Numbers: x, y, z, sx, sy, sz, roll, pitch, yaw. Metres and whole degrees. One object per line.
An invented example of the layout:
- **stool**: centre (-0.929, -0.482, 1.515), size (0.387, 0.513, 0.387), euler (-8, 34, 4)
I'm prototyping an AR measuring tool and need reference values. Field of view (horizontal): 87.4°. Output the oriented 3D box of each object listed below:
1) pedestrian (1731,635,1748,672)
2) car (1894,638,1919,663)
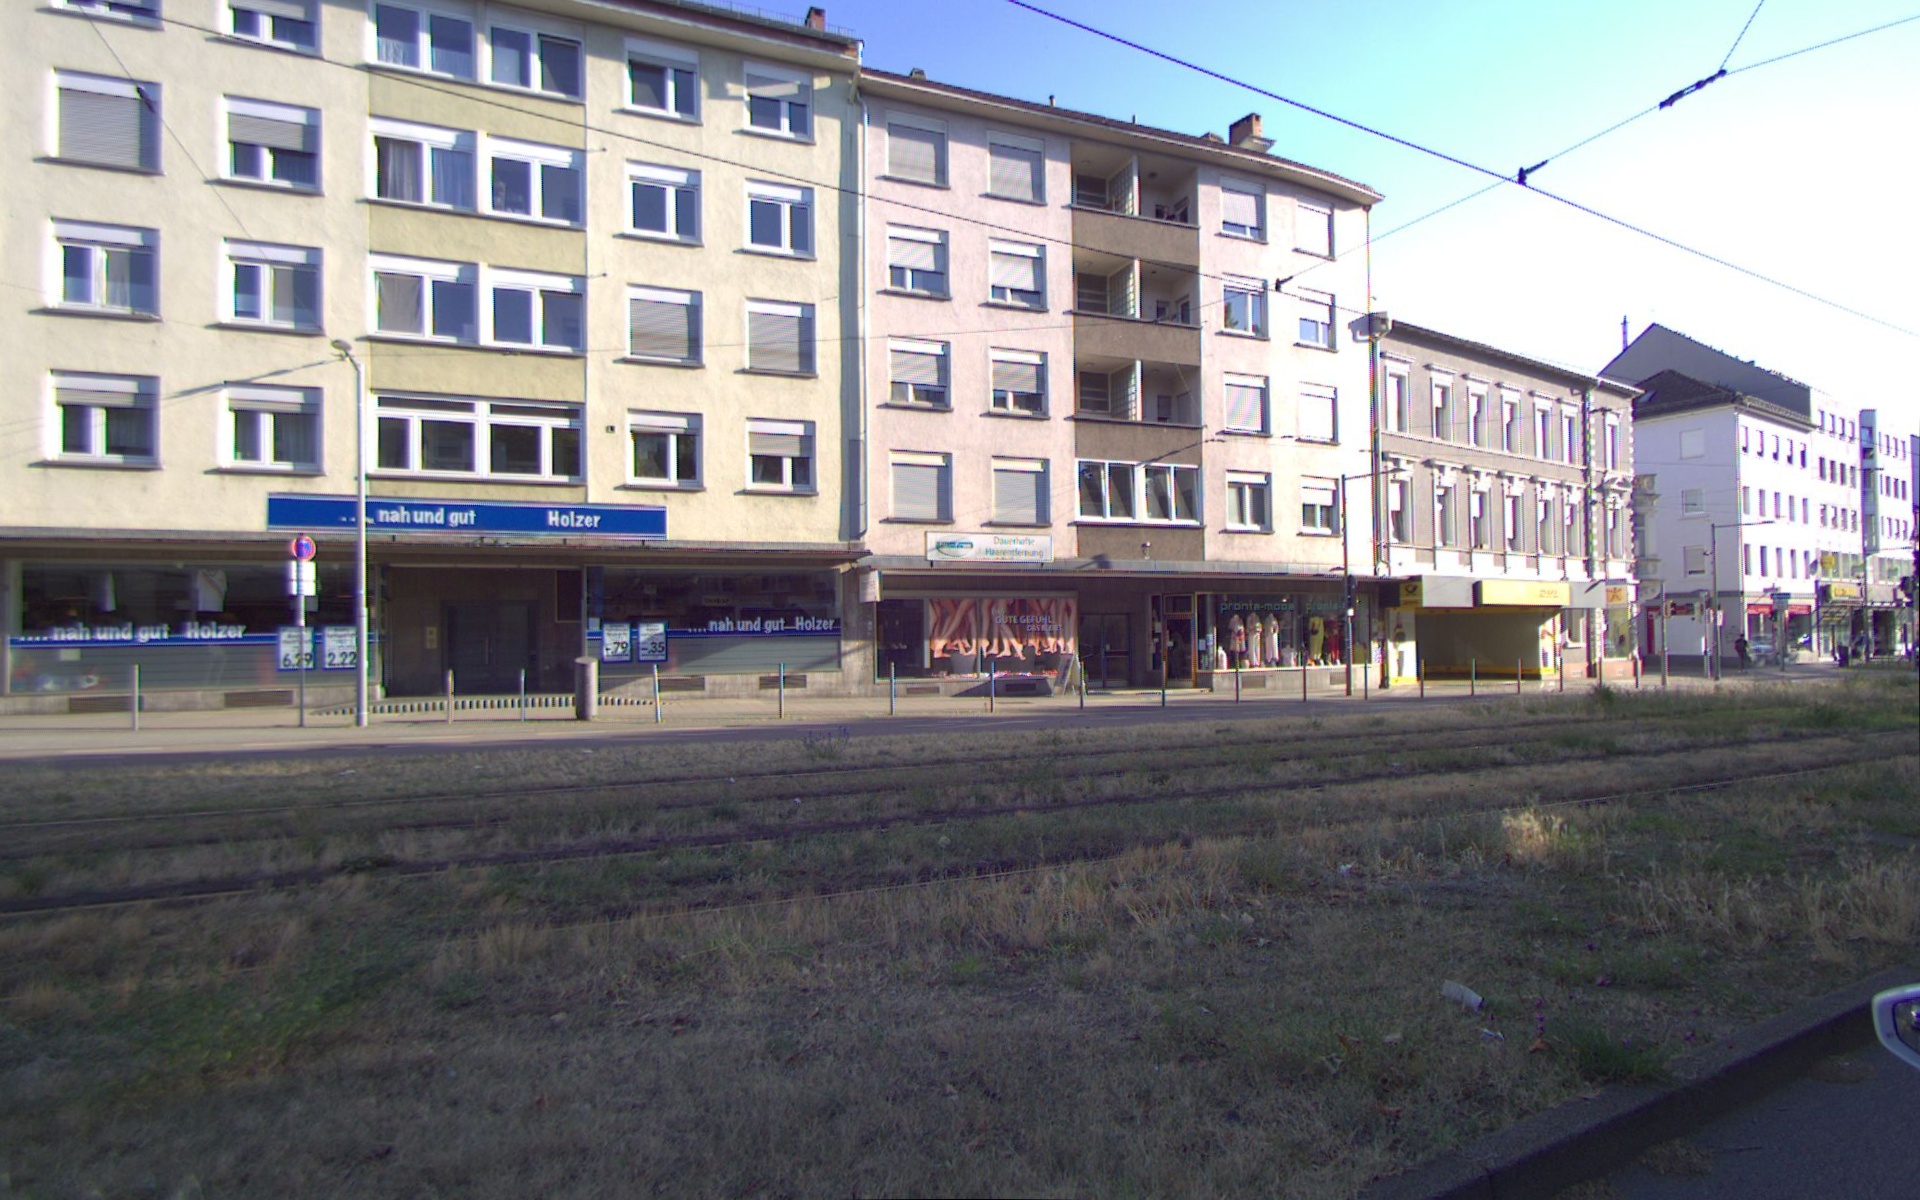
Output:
- **pedestrian**: centre (36.814, 2.513, 47.449), size (0.501, 1.736, 0.424), euler (1, -2, -26)
- **car**: centre (55.899, 2.851, 56.489), size (4.466, 1.431, 1.999), euler (-1, -2, 24)
